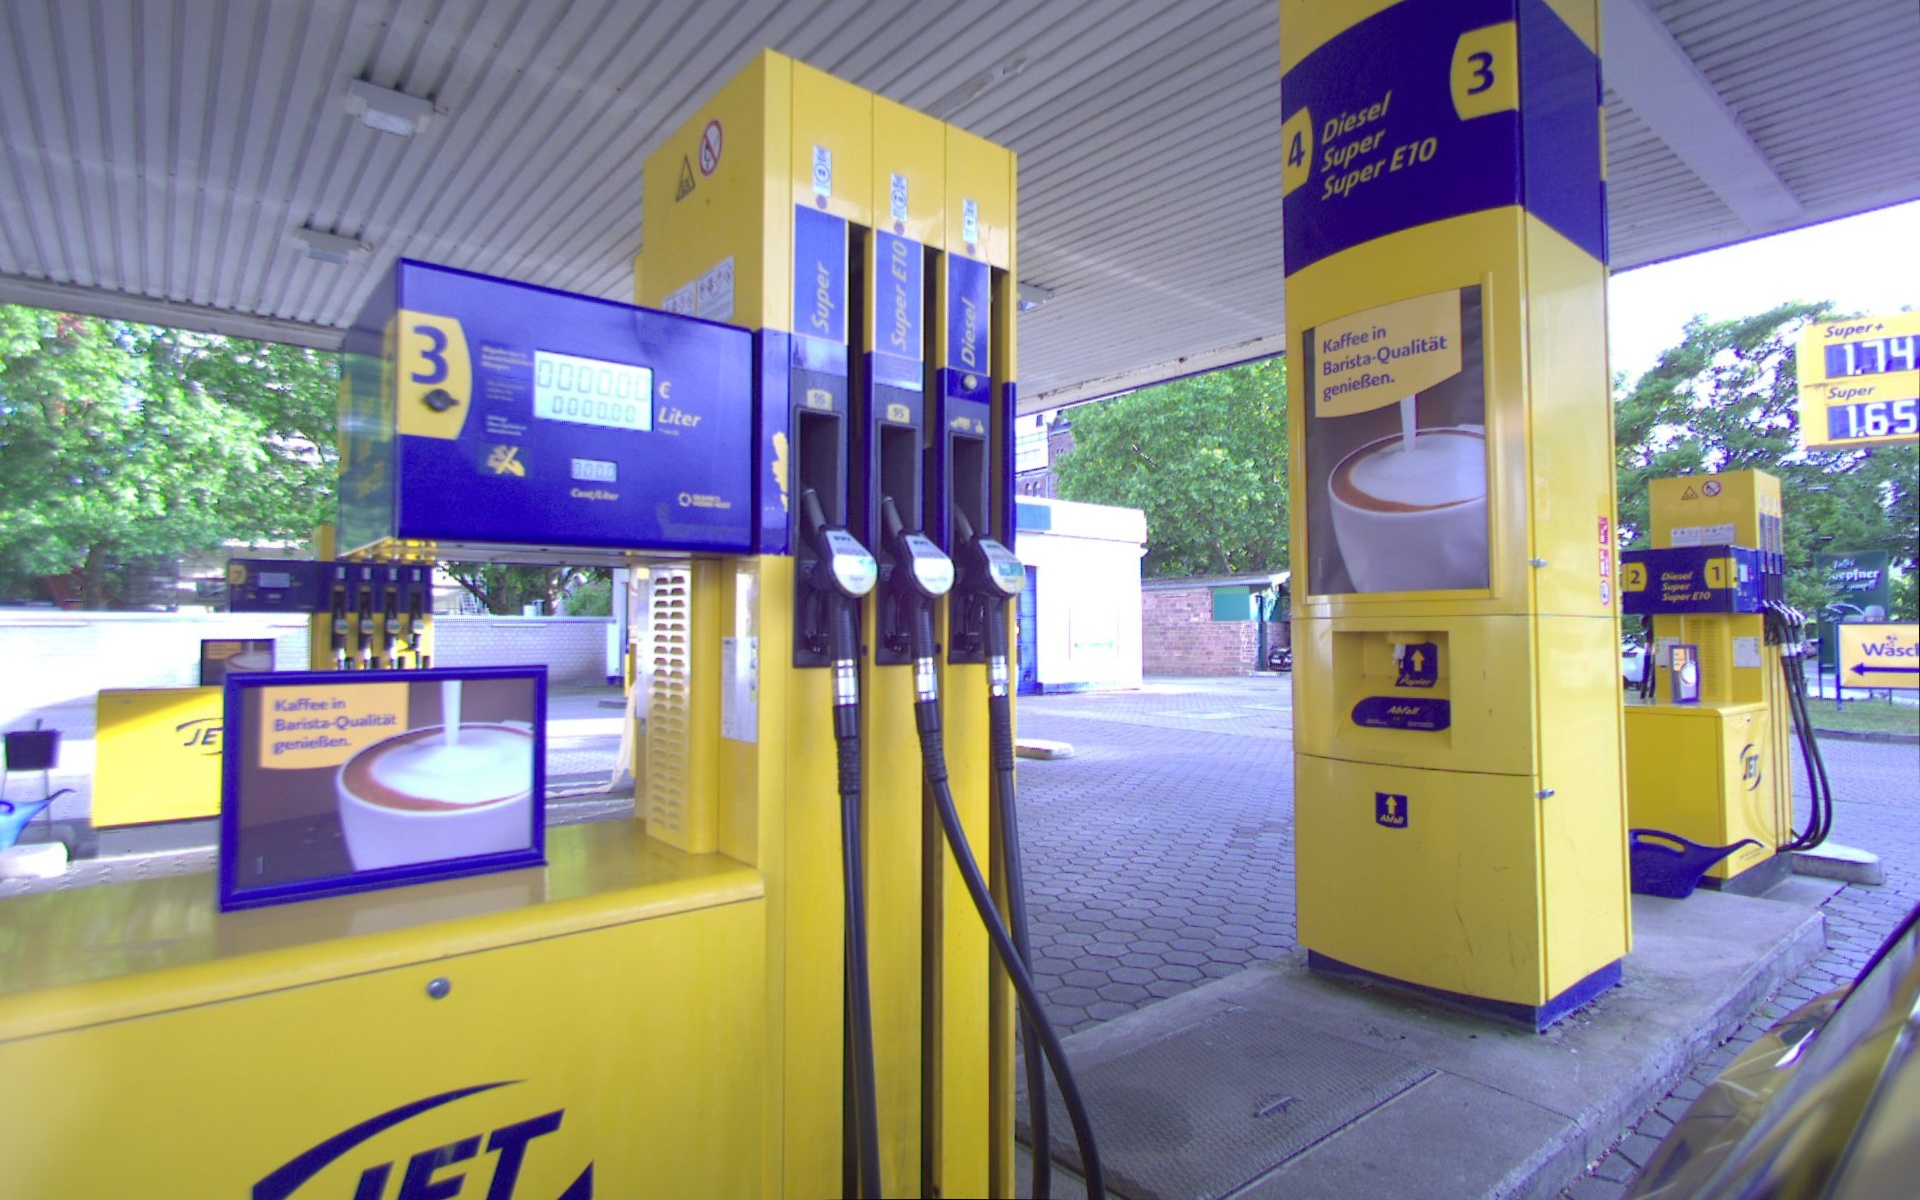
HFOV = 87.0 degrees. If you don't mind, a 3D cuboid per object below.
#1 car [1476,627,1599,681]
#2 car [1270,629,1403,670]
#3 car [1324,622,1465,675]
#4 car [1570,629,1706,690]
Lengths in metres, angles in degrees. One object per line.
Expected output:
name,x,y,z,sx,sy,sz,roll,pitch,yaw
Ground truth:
car,17.565,1.643,30.759,3.923,1.529,1.740,3,-3,-35
car,12.839,1.701,34.508,4.134,1.294,1.751,2,-3,-22
car,13.798,1.550,32.159,4.134,1.544,1.791,2,-3,-24
car,18.230,1.565,27.172,3.923,1.529,1.740,2,-3,-35
